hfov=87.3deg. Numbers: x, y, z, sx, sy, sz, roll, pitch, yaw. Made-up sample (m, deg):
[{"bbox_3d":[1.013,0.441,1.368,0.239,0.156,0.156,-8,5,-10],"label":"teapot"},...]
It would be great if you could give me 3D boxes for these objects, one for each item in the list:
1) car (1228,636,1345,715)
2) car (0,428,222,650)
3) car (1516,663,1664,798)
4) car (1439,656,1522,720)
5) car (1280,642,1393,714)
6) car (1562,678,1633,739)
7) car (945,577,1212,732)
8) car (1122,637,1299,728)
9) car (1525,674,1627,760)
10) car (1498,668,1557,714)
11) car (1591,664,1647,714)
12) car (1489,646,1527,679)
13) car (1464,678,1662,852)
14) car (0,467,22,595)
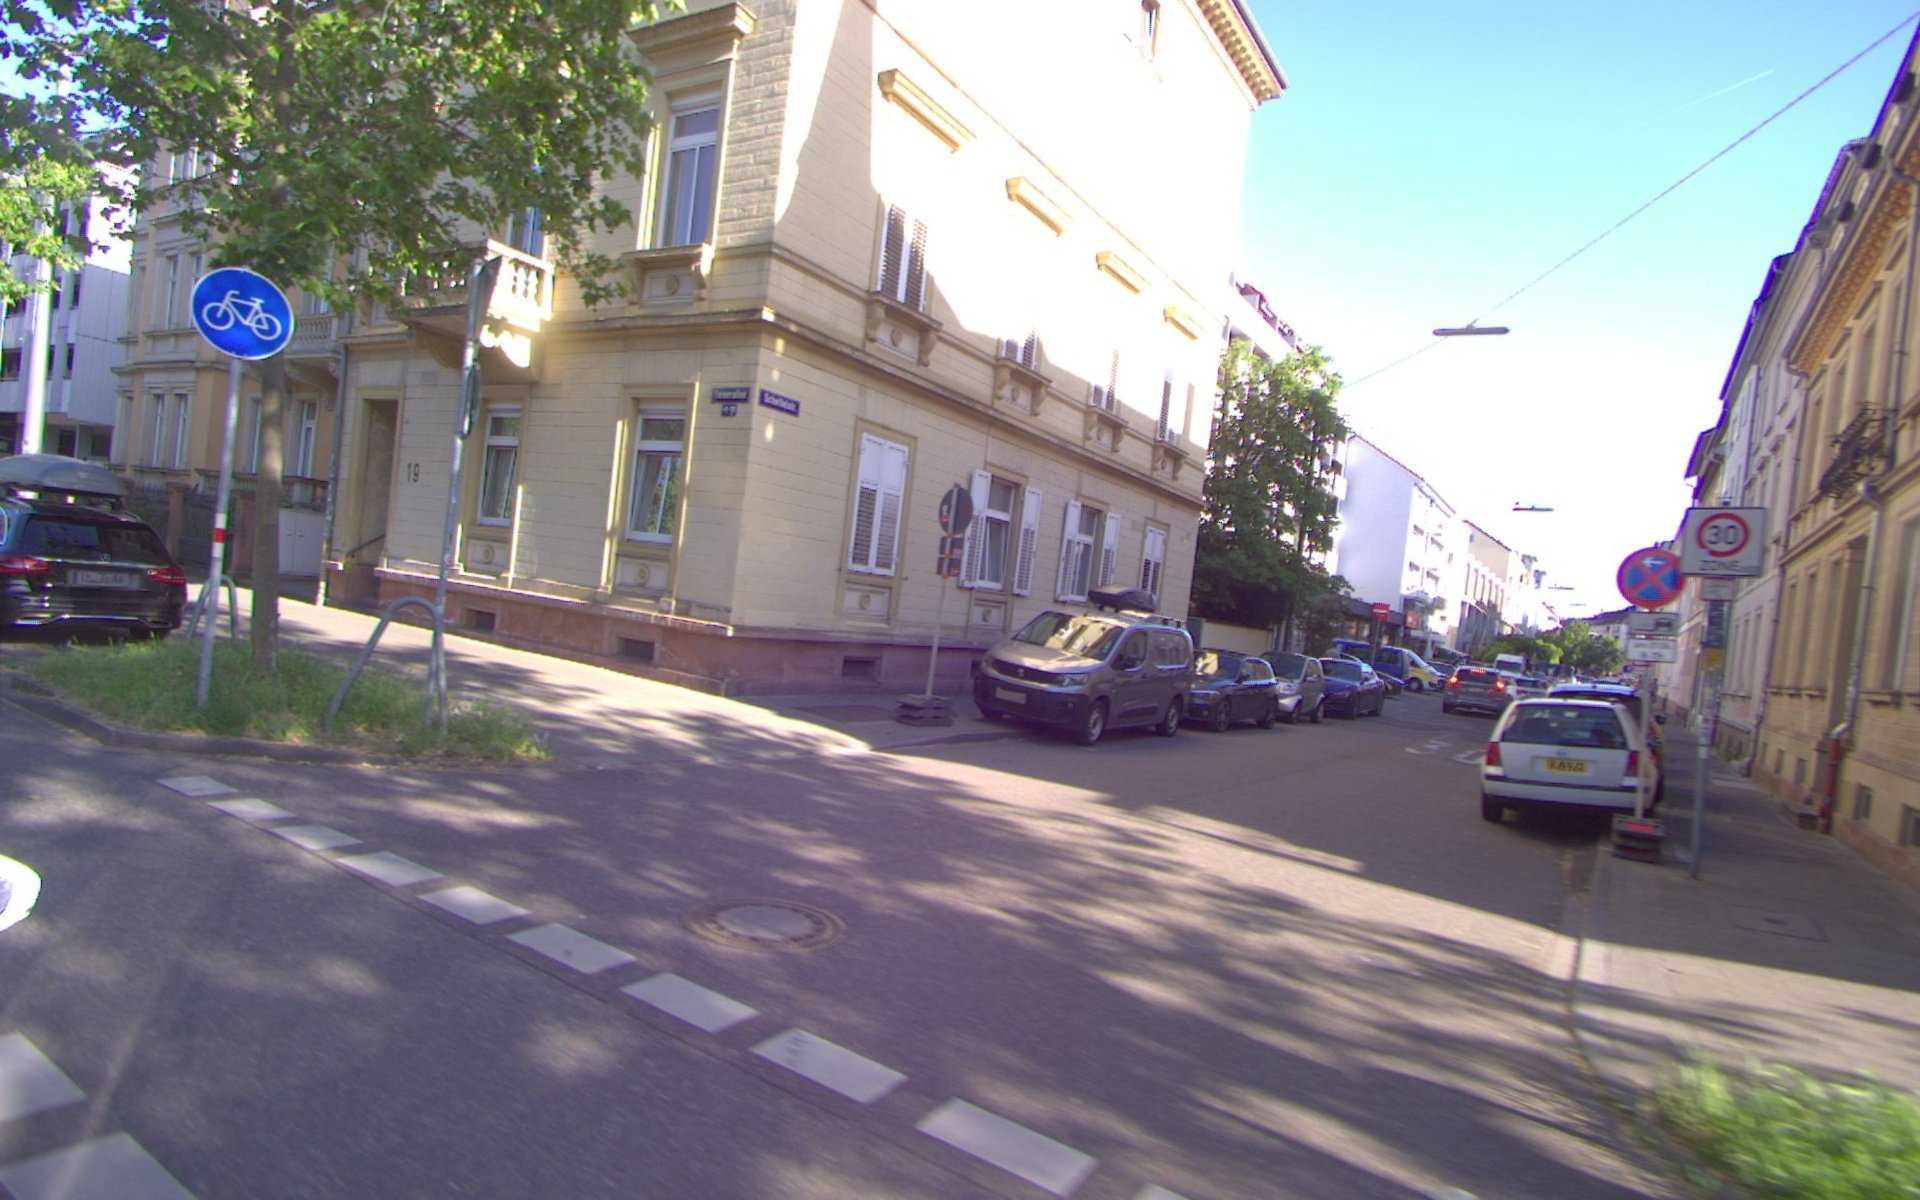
[{"bbox_3d":[7.753,1.797,23.711,1.576,1.525,3.308,8,0,35],"label":"car"},{"bbox_3d":[-10.387,-0.784,11.198,4.658,1.989,1.757,8,0,32],"label":"car"},{"bbox_3d":[10.252,2.084,16.382,1.640,1.697,3.993,8,-1,33],"label":"car"},{"bbox_3d":[17.905,3.062,34.510,1.883,1.766,3.992,8,-1,34],"label":"car"},{"bbox_3d":[10.335,2.155,27.424,1.719,1.575,4.383,8,0,35],"label":"car"},{"bbox_3d":[20.215,3.453,31.904,1.624,1.564,3.737,8,-1,33],"label":"car"},{"bbox_3d":[1.963,0.877,15.157,1.890,1.794,4.585,8,0,35],"label":"car"},{"bbox_3d":[5.017,1.613,19.690,1.817,1.364,4.372,7,-1,35],"label":"car"},{"bbox_3d":[14.836,2.720,24.169,1.761,1.635,3.866,8,1,33],"label":"car"},{"bbox_3d":[24.099,3.890,42.670,1.838,1.609,3.635,8,-1,33],"label":"car"},{"bbox_3d":[29.439,4.013,44.929,1.805,1.837,3.786,8,-1,34],"label":"car"},{"bbox_3d":[39.611,4.513,72.691,1.922,2.038,3.991,7,0,33],"label":"car"},{"bbox_3d":[7.419,1.841,12.311,1.621,1.523,4.061,8,1,33],"label":"car"},{"bbox_3d":[-15.386,-1.225,14.264,4.659,1.721,1.800,7,0,32],"label":"car"}]
